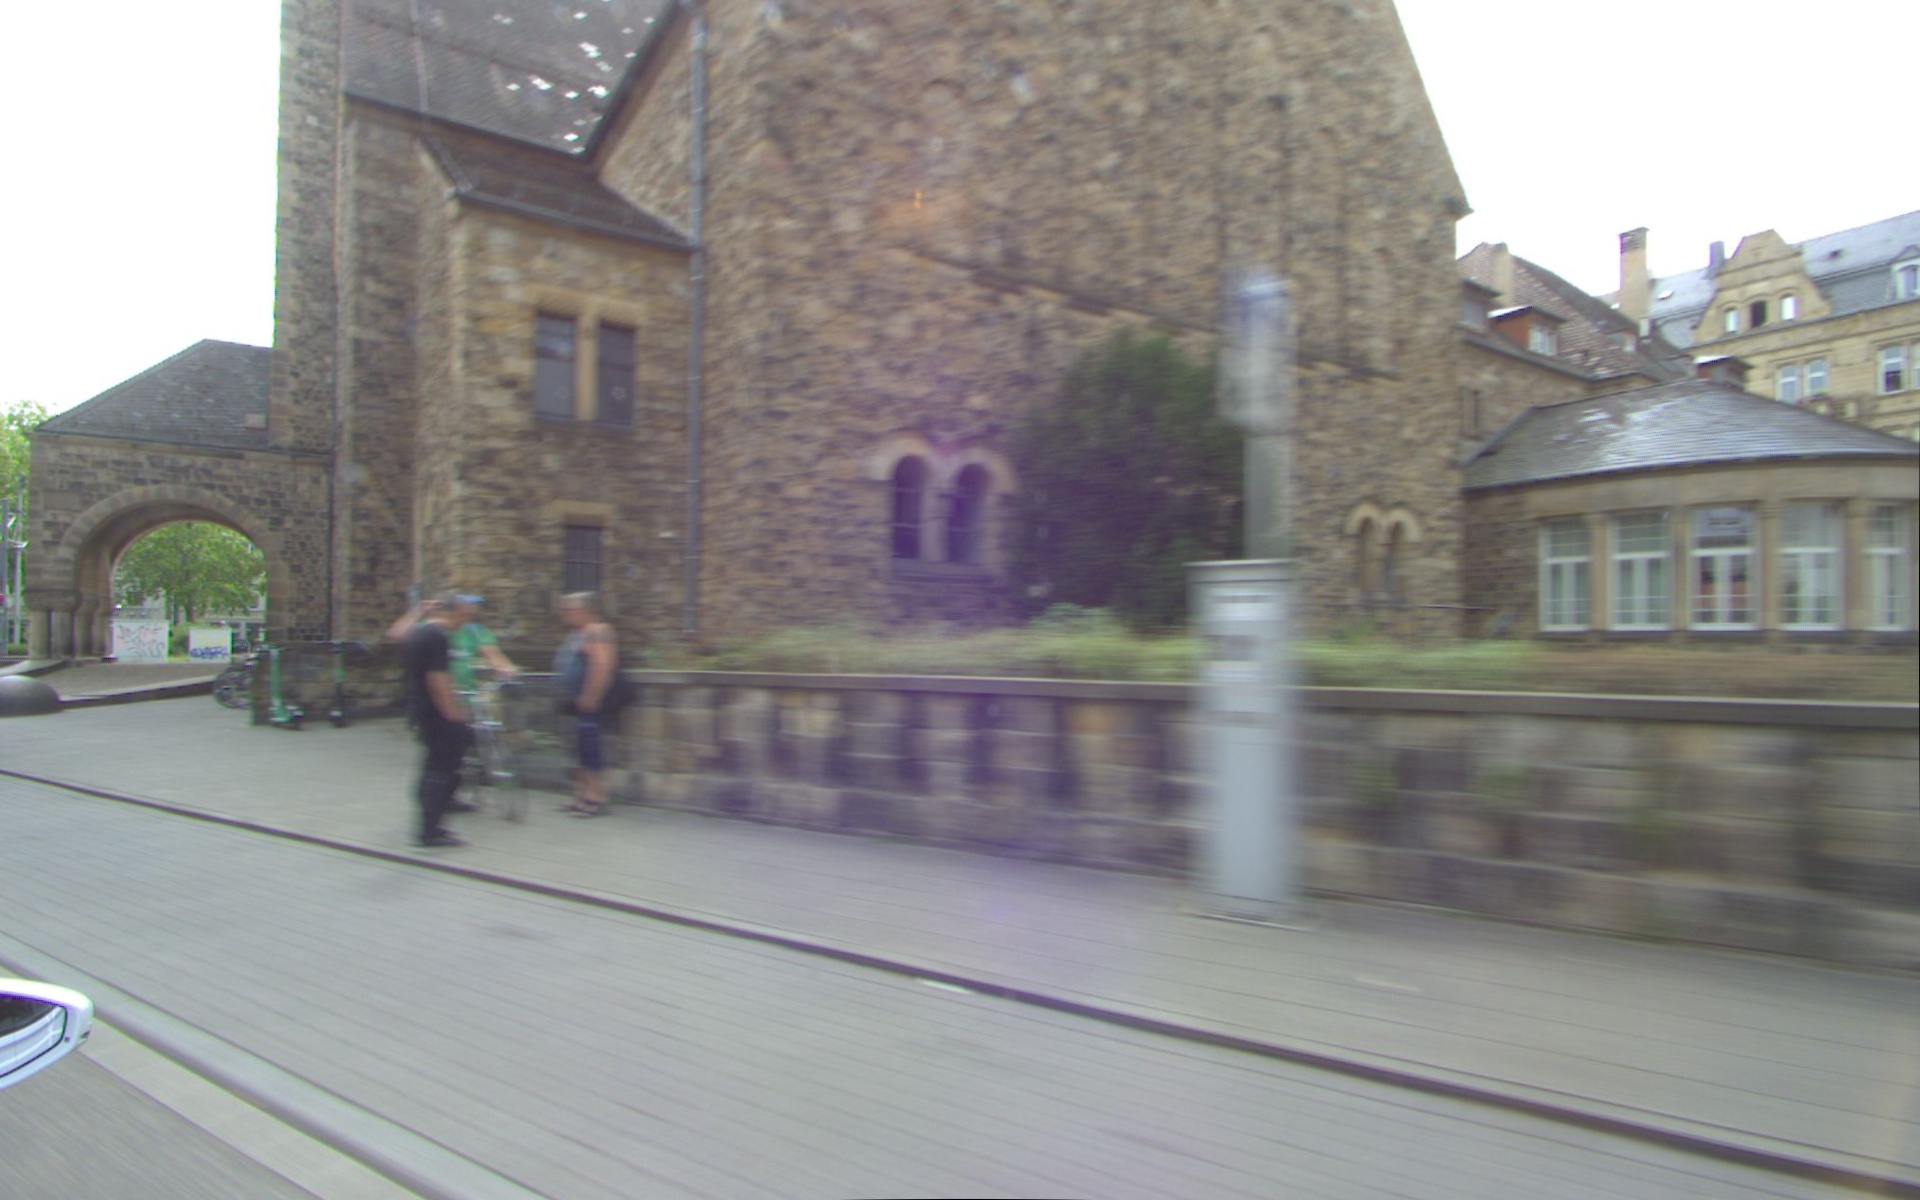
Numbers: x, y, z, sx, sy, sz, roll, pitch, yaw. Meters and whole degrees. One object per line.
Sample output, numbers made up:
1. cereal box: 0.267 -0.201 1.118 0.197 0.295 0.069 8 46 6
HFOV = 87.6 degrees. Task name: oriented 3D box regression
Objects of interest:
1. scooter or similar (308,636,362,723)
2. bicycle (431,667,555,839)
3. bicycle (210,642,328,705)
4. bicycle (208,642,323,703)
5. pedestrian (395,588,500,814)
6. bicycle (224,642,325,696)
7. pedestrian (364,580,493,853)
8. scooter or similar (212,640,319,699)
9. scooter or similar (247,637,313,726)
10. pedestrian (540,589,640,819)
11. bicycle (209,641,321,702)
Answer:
1. scooter or similar: -9.301 1.149 14.885 0.539 1.222 1.470 1 -2 -37
2. bicycle: -3.715 1.130 7.891 0.528 1.164 1.740 2 -3 -37
3. bicycle: -12.820 1.342 18.607 1.762 1.126 0.541 2 -2 -39
4. bicycle: -13.228 1.360 19.106 1.755 1.126 0.541 2 -2 -39
5. pedestrian: -4.110 0.791 8.052 0.499 1.741 0.532 0 -2 10
6. bicycle: -14.858 1.483 21.730 1.762 1.126 0.541 2 -2 -39
7. pedestrian: -3.535 0.752 6.688 0.521 1.741 0.509 0 -2 10
8. scooter or similar: -14.255 1.413 20.591 1.762 1.154 0.541 2 -2 -39
9. scooter or similar: -9.870 1.151 14.524 0.541 1.222 1.428 1 -2 -44
10. pedestrian: -2.903 0.797 7.884 0.521 1.741 0.509 0 -2 11
11. bicycle: -13.589 1.377 19.603 1.762 1.126 0.541 2 -2 -39
